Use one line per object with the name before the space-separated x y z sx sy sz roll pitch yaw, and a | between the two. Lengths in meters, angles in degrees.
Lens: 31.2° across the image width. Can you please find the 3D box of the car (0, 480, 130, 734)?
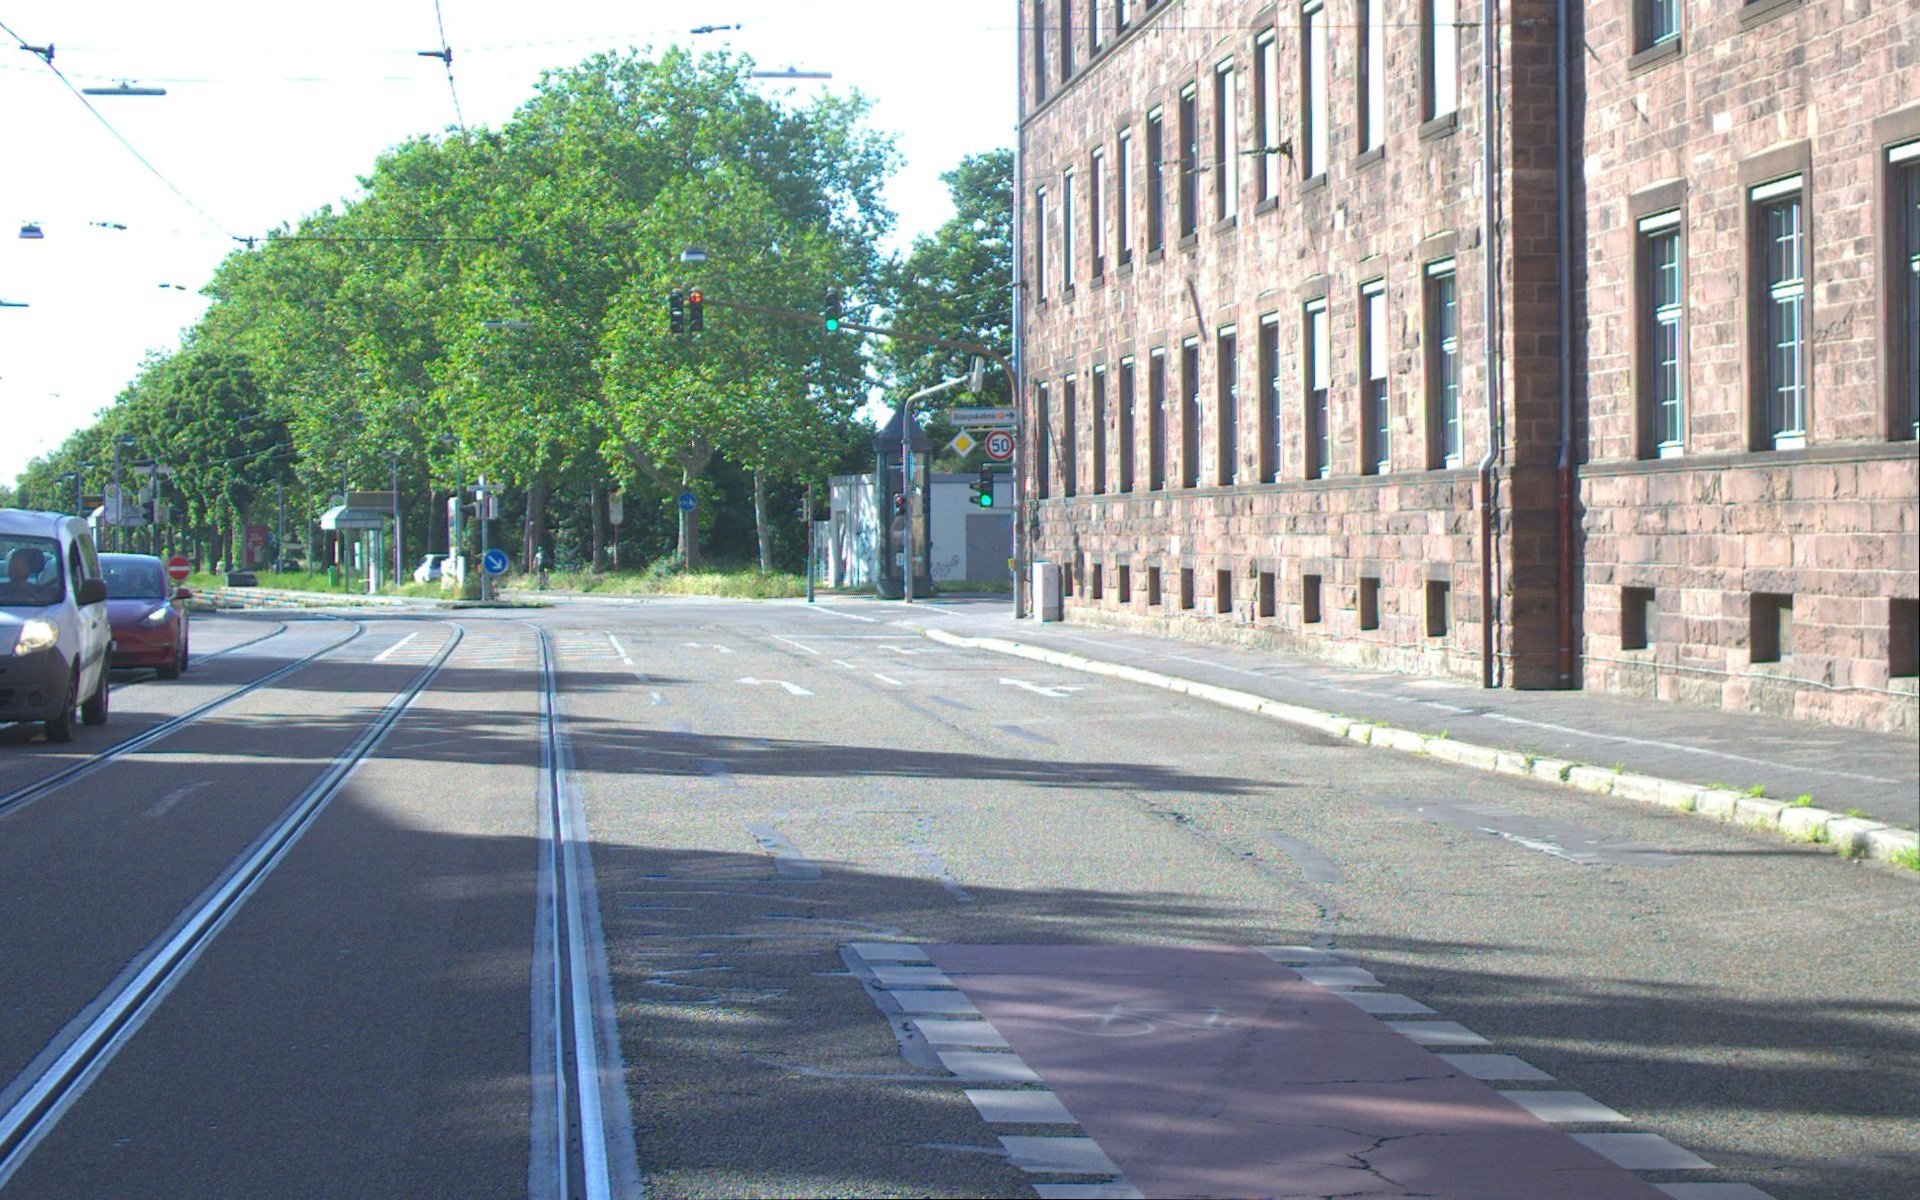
car | -7.864 0.019 27.624 1.809 1.882 4.441 0 1 -7

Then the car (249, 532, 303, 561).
car | -38.539 -3.003 193.768 1.942 1.605 4.001 0 1 -27

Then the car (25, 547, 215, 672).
car | -9.921 0.070 40.878 1.920 1.382 4.688 0 1 -10

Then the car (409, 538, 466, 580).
car | -20.338 -1.600 133.683 1.942 1.605 4.001 0 1 -12
